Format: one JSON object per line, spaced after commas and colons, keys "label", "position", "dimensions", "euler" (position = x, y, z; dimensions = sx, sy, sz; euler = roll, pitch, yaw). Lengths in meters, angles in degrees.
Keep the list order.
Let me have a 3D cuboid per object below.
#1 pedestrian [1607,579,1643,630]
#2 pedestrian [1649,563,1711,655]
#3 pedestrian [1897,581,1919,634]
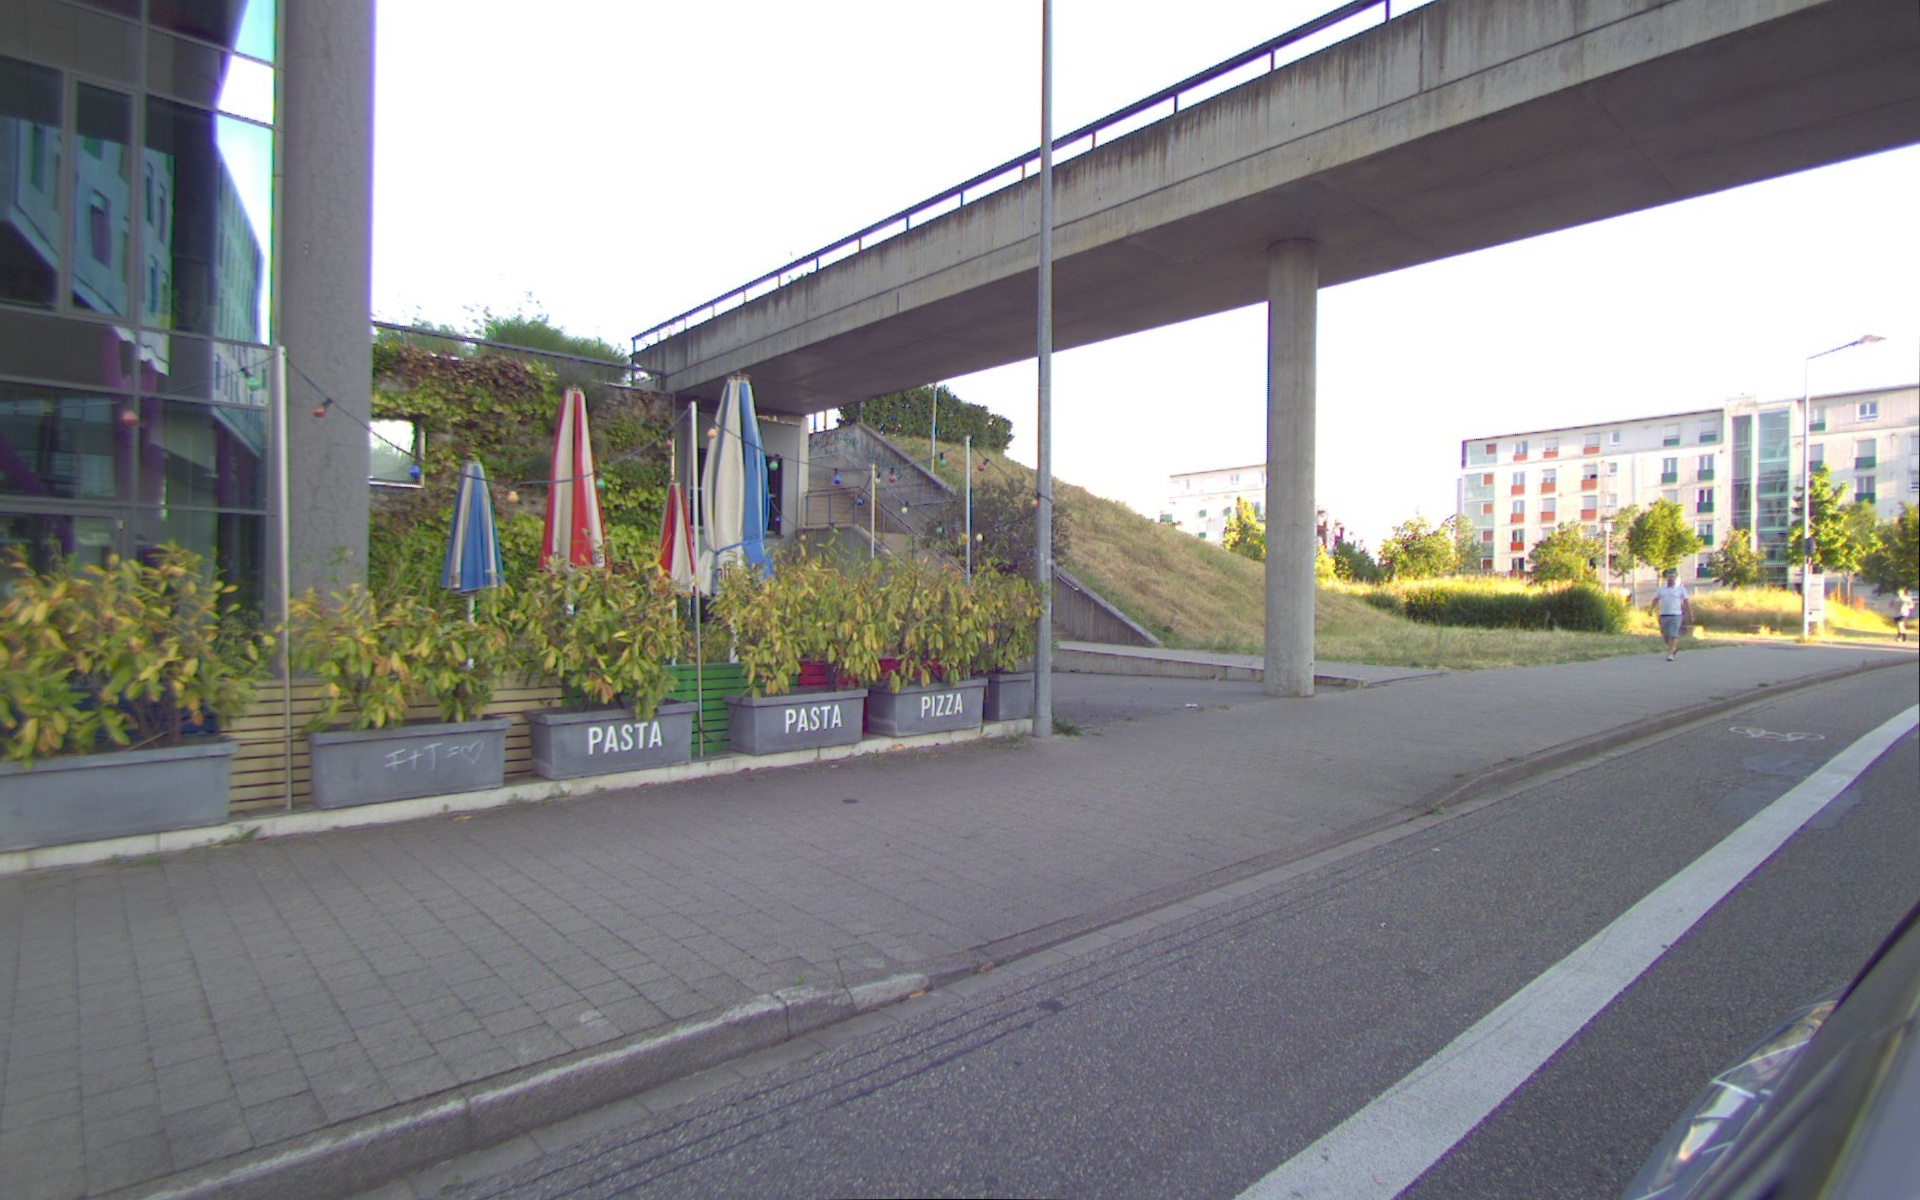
{"label": "pedestrian", "position": [21.941, 0.148, 33.395], "dimensions": [0.844, 1.650, 0.737], "euler": [1, 2, -40]}
{"label": "pedestrian", "position": [14.193, 0.158, 19.959], "dimensions": [0.890, 1.745, 0.737], "euler": [1, 2, -40]}
{"label": "pedestrian", "position": [32.062, 0.240, 33.985], "dimensions": [0.523, 1.745, 0.737], "euler": [1, 2, -40]}
